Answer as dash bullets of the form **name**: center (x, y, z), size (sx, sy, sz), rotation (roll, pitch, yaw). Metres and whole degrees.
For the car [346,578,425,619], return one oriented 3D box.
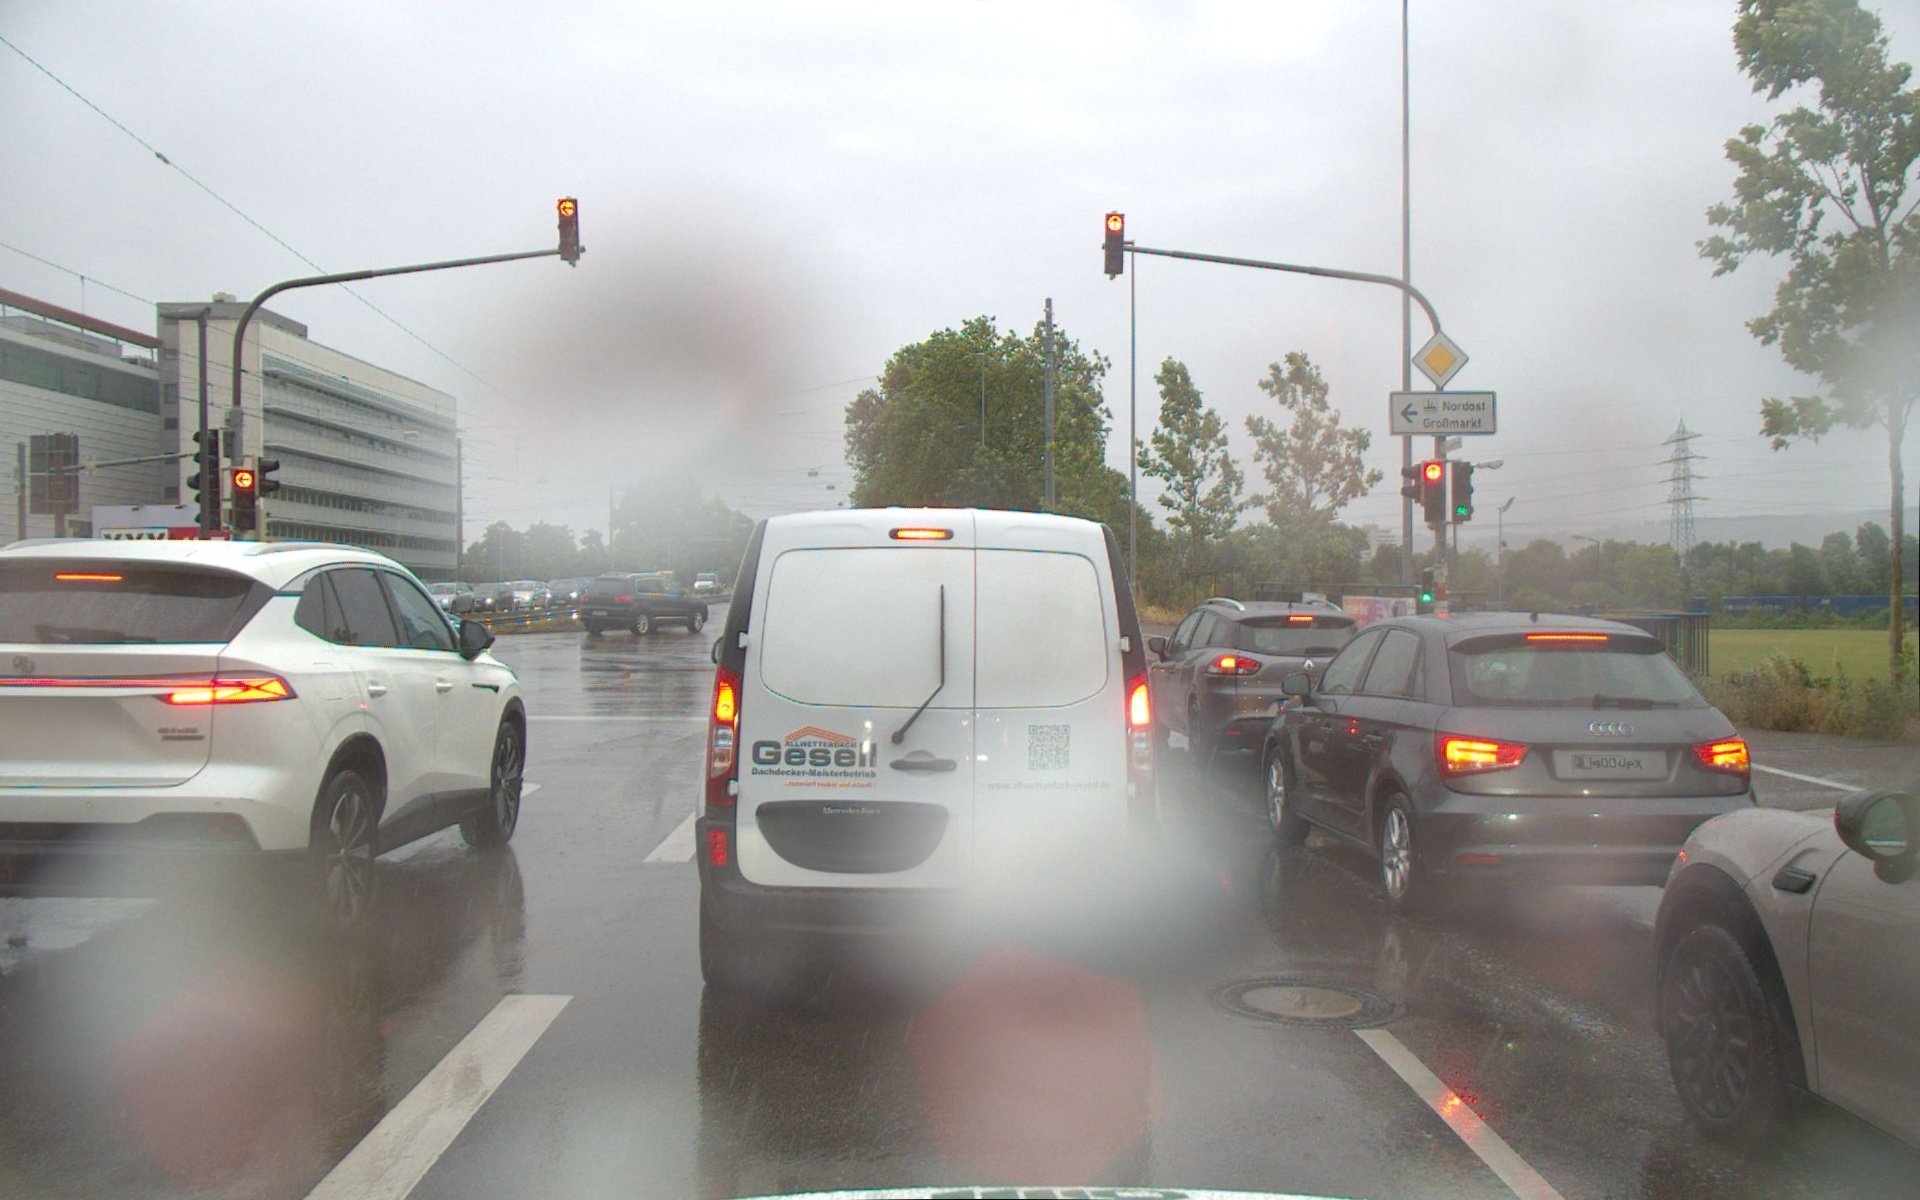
- **car**: center (-21.756, -0.029, 62.760), size (1.676, 1.451, 3.808), rotation (2, -1, -1)

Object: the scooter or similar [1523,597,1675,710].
- **scooter or similar**: center (7.641, 0.592, 19.947), size (0.676, 1.232, 3.020), rotation (0, 0, 0)

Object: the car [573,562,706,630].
- **car**: center (-8.861, -0.083, 46.039), size (1.668, 1.703, 3.794), rotation (4, 0, 25)

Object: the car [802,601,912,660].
- **car**: center (-2.707, 0.812, 44.332), size (1.499, 1.422, 3.797), rotation (4, 0, 20)

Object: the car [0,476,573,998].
- **car**: center (-3.381, 0.470, 8.113), size (1.891, 1.806, 4.663), rotation (1, 0, -1)

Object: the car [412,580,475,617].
- **car**: center (-21.810, -0.051, 69.995), size (1.528, 1.451, 3.568), rotation (2, -1, -1)

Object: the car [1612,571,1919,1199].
- **car**: center (2.922, 0.746, 3.227), size (1.668, 1.534, 3.879), rotation (3, 0, -1)

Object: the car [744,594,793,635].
- **car**: center (-7.266, 0.530, 63.106), size (1.613, 1.422, 3.451), rotation (4, 0, -4)

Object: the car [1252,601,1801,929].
- **car**: center (2.777, 0.740, 8.965), size (1.565, 1.390, 3.628), rotation (-1, -1, -3)

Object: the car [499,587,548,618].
- **car**: center (-22.009, 0.129, 83.559), size (1.528, 1.451, 3.568), rotation (2, -1, -1)

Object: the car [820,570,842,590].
- **car**: center (-11.702, -1.800, 150.394), size (1.909, 1.691, 4.460), rotation (2, -1, -4)

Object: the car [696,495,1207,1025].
- **car**: center (-0.170, 0.514, 7.704), size (1.719, 1.780, 4.166), rotation (1, 1, -4)

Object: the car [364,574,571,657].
- **car**: center (-10.002, 0.321, 33.678), size (3.700, 1.533, 1.630), rotation (3, 0, -35)

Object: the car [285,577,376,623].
- **car**: center (-21.578, 0.036, 56.857), size (1.676, 1.451, 3.808), rotation (2, -1, -1)

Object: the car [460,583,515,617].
- **car**: center (-21.969, 0.013, 77.073), size (1.528, 1.451, 3.568), rotation (2, -1, -1)

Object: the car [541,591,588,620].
- **car**: center (-21.683, 0.320, 90.849), size (1.676, 1.451, 3.808), rotation (2, -1, -1)

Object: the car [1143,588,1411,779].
- **car**: center (2.834, 0.687, 15.595), size (1.650, 1.534, 3.919), rotation (1, 0, -2)
